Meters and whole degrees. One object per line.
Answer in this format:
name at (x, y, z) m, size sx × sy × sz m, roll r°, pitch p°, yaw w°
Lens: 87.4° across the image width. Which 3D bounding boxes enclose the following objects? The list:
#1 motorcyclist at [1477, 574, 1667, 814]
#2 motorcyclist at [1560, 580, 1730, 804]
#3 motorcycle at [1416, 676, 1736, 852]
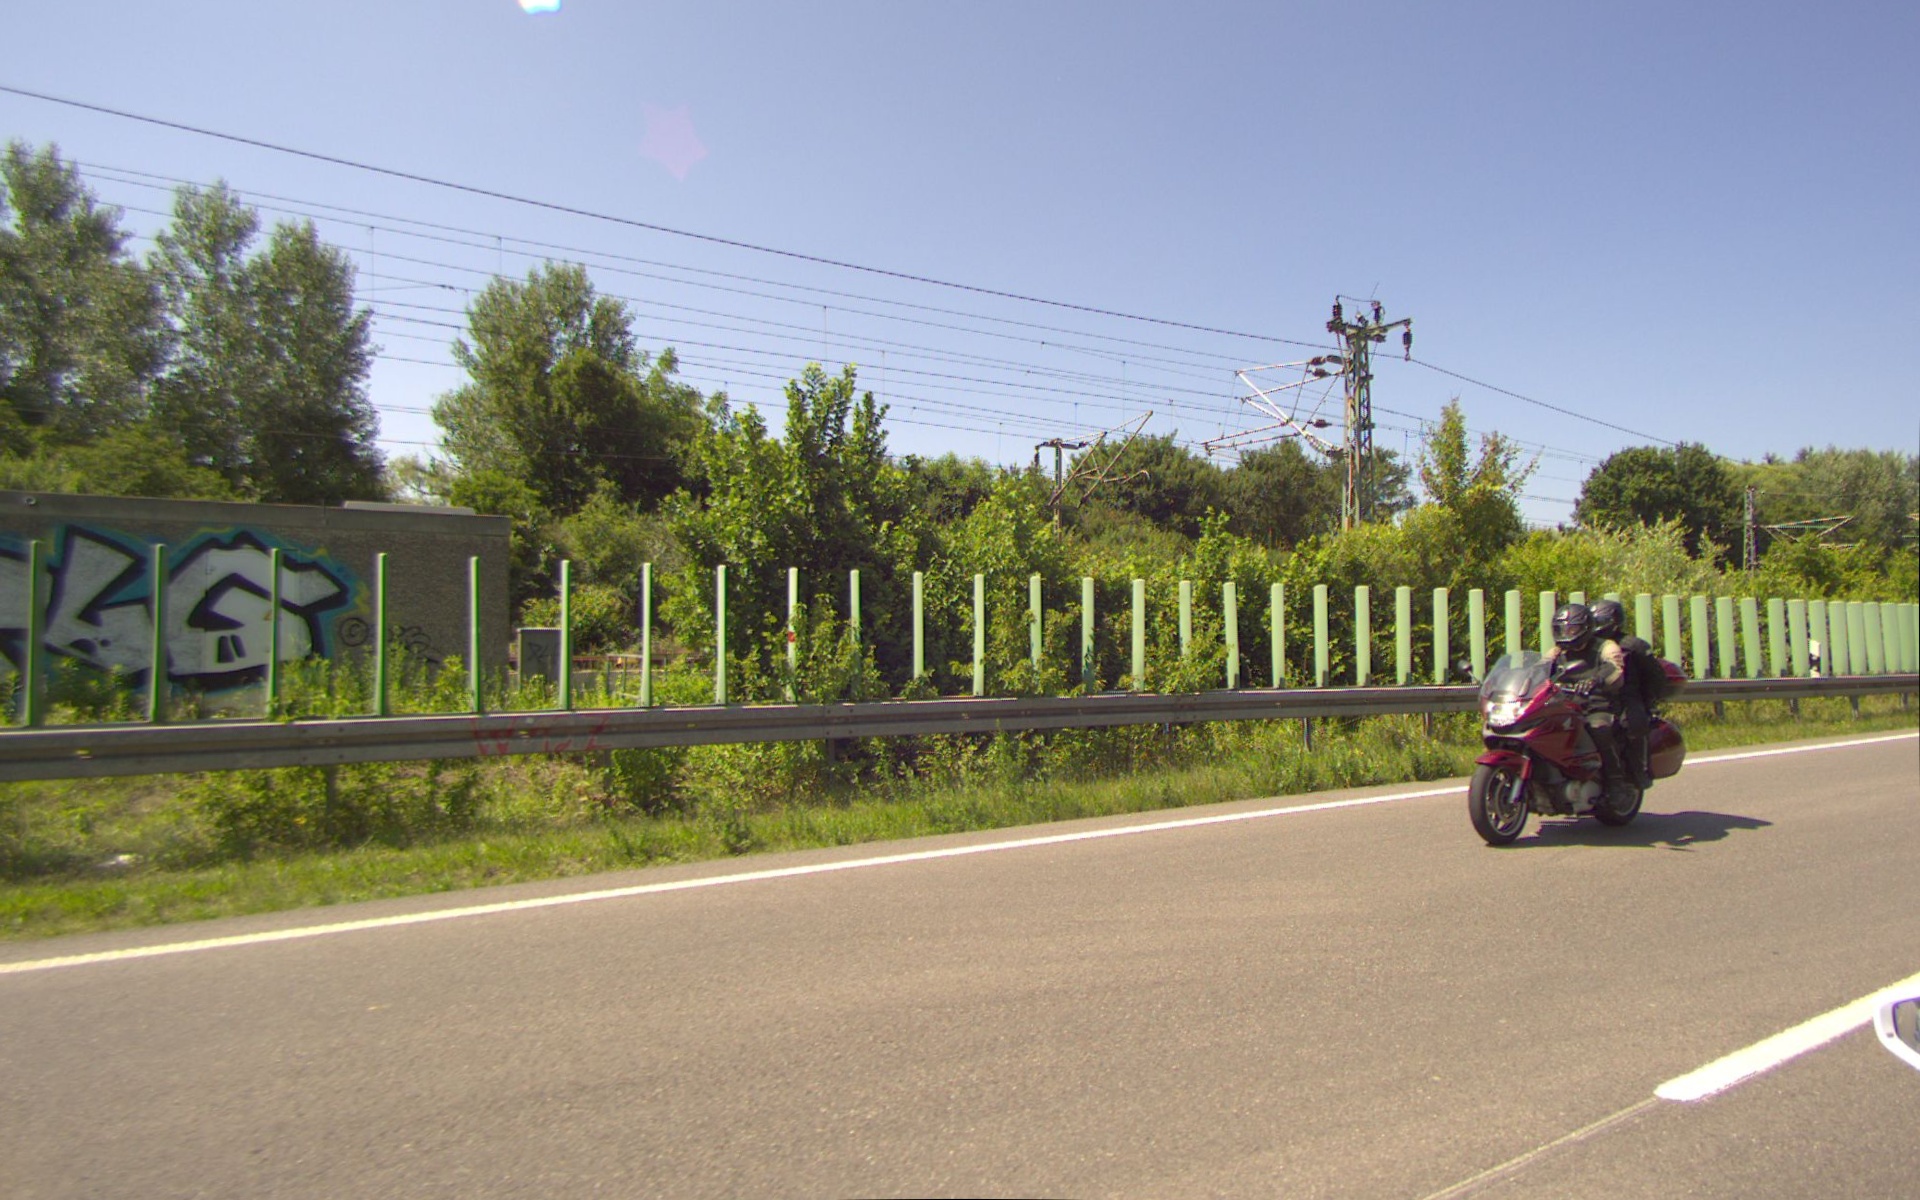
motorcyclist at (4.417, 0.637, 7.266) m, size 0.990 × 1.604 × 0.755 m, roll 1°, pitch 0°, yaw -29°
motorcyclist at (5.252, 0.667, 7.718) m, size 0.853 × 1.604 × 0.746 m, roll 1°, pitch 0°, yaw -28°
motorcycle at (4.547, 1.115, 7.335) m, size 2.687 × 1.027 × 0.751 m, roll 2°, pitch 0°, yaw -29°
